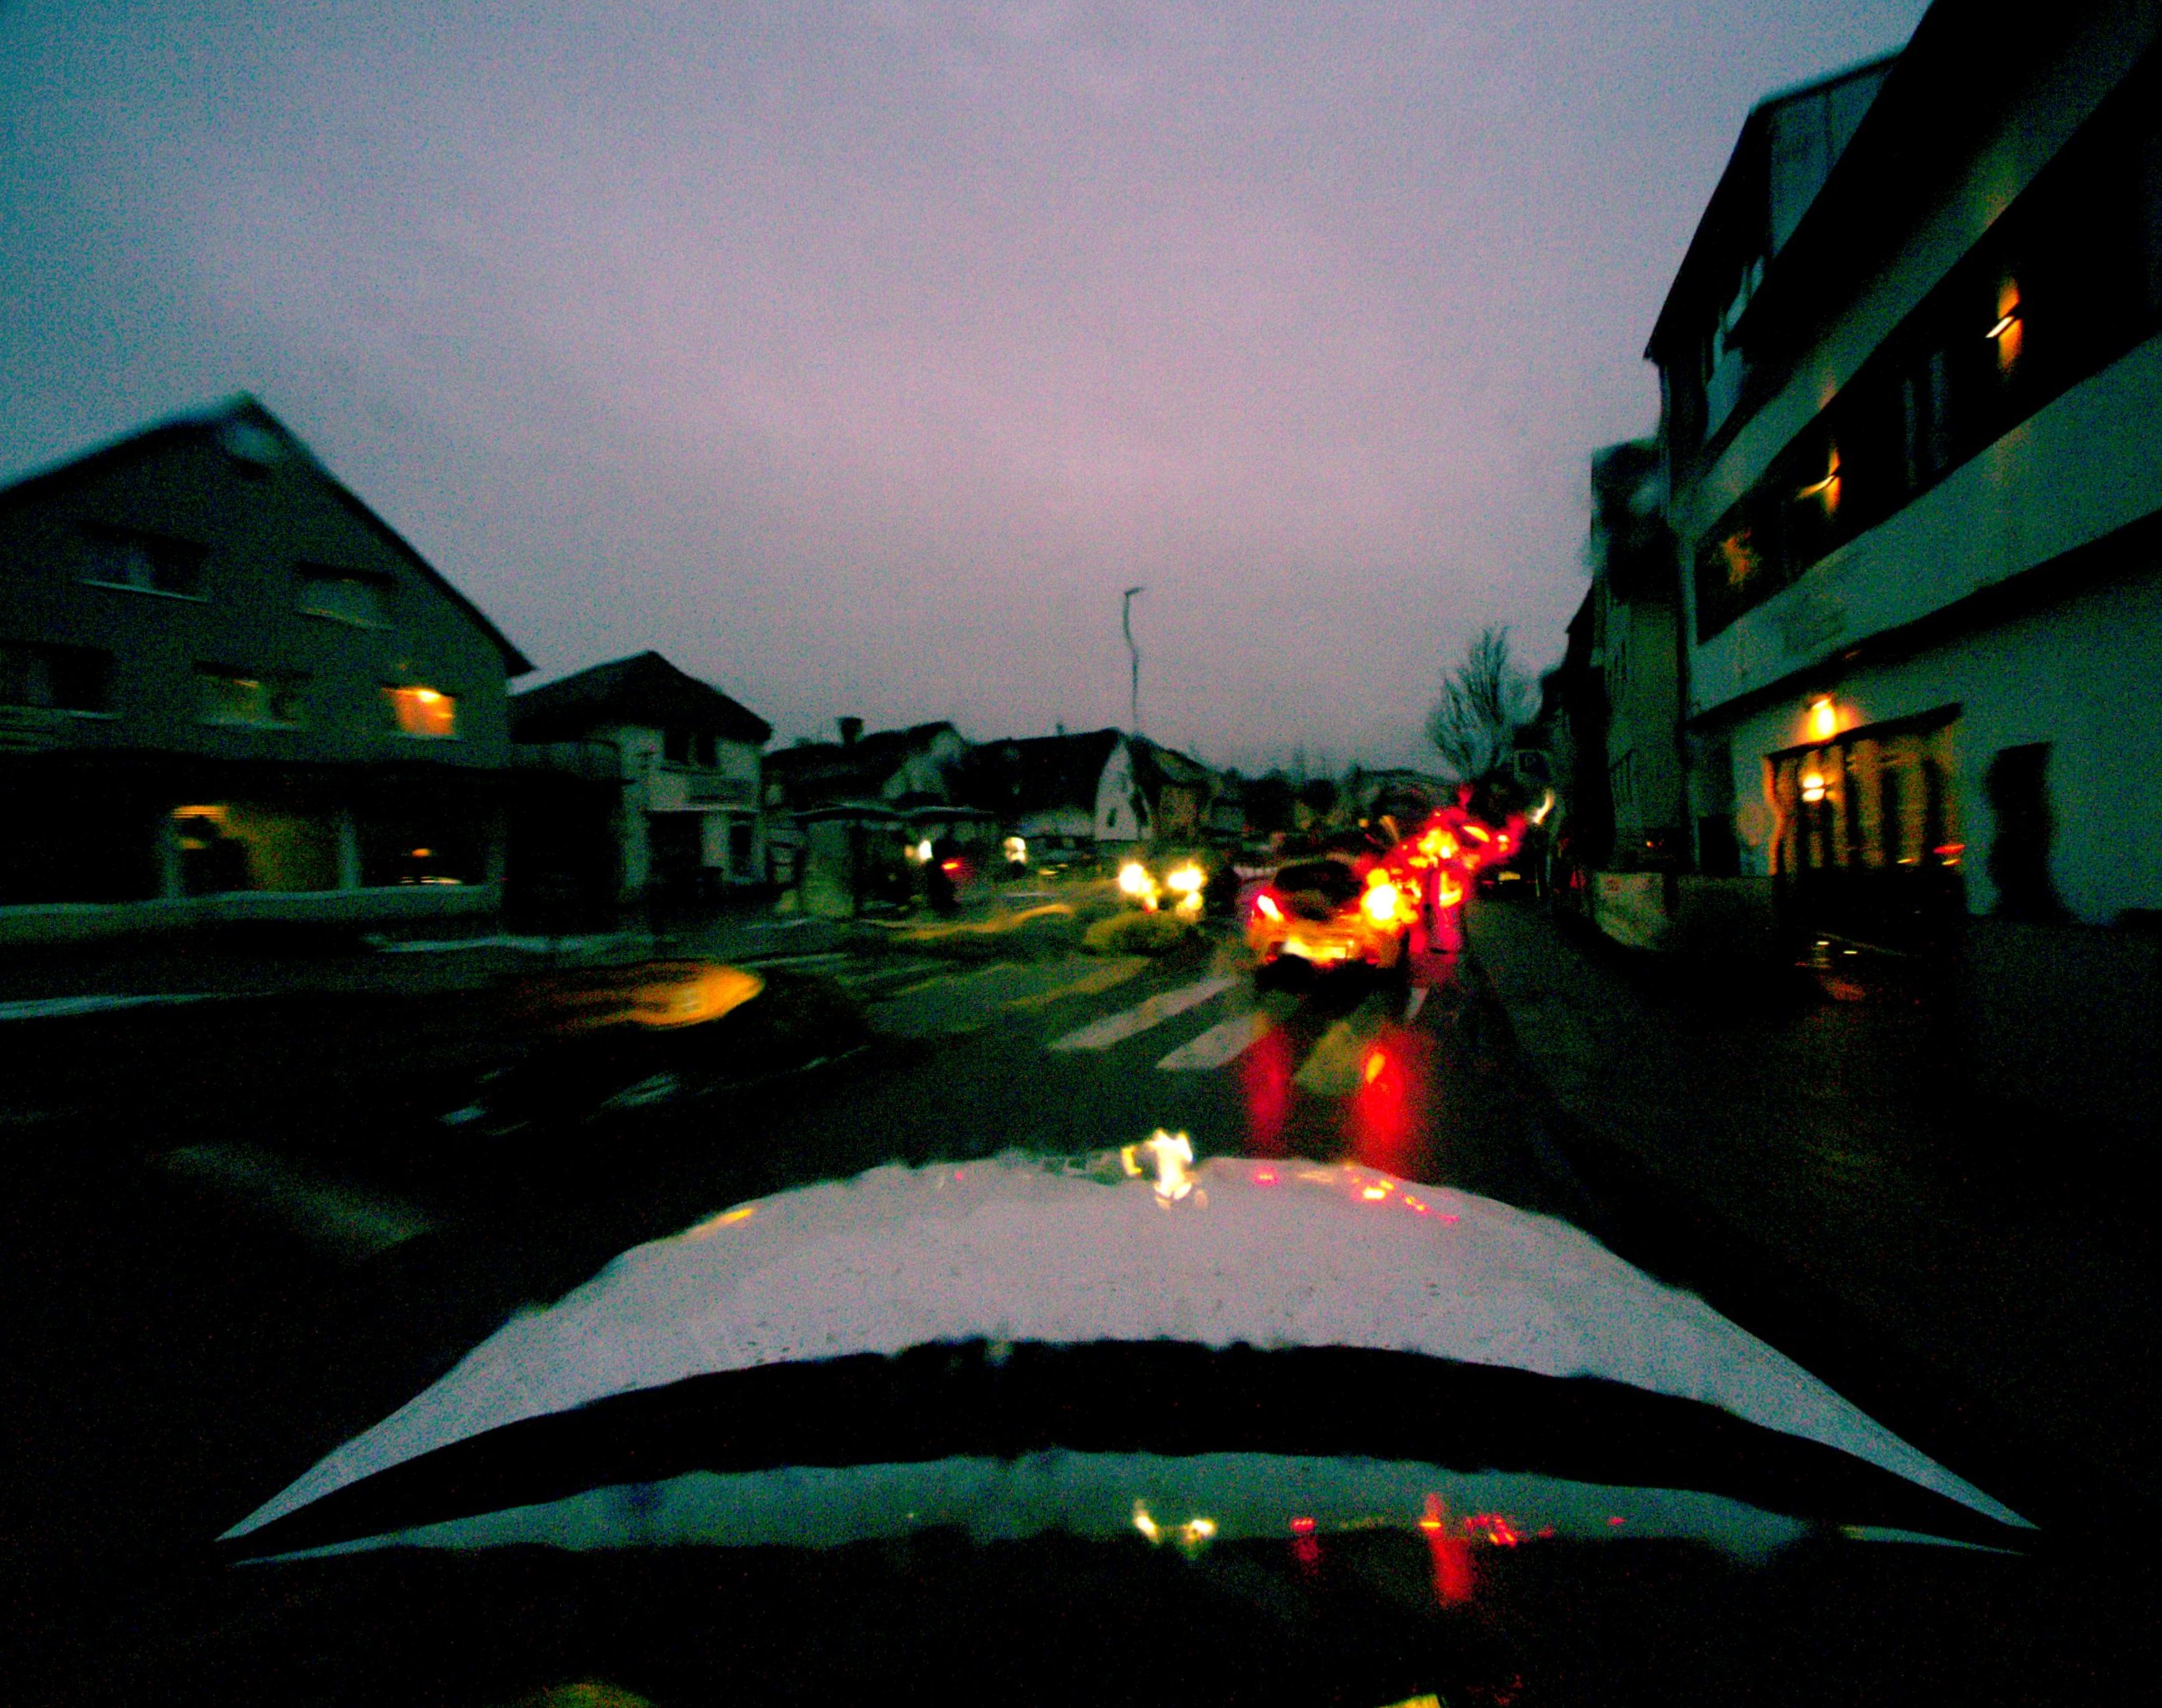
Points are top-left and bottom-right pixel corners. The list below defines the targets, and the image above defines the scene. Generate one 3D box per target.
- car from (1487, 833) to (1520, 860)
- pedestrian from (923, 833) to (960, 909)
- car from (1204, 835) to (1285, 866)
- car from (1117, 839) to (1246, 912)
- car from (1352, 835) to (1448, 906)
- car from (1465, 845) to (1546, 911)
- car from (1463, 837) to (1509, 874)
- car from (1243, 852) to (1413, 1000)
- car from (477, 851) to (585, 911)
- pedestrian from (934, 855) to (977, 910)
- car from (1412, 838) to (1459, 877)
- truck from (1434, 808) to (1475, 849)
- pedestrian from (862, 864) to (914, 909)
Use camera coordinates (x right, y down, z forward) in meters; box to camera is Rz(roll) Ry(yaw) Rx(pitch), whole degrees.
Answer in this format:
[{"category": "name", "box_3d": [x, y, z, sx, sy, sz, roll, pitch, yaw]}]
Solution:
[{"category": "car", "box_3d": [25.286, -0.461, 48.811, 1.675, 1.467, 3.741, -1, 1, 27]}, {"category": "pedestrian", "box_3d": [-3.374, 0.408, 19.767, 0.725, 1.818, 0.531, -2, 0, 3]}, {"category": "car", "box_3d": [9.467, -0.204, 47.207, 4.270, 1.640, 1.856, -1, 1, 22]}, {"category": "car", "box_3d": [2.601, 0.456, 20.221, 1.724, 1.568, 4.087, -1, 1, 29]}, {"category": "car", "box_3d": [8.375, 0.364, 21.173, 1.898, 1.615, 3.974, -1, 1, 27]}, {"category": "car", "box_3d": [11.779, 0.610, 22.690, 1.794, 1.570, 3.874, -1, 1, 27]}, {"category": "car", "box_3d": [17.822, 0.028, 35.820, 1.675, 1.467, 3.741, -1, 1, 27]}, {"category": "car", "box_3d": [3.339, 0.734, 10.478, 1.695, 1.421, 4.035, -1, 1, 22]}, {"category": "car", "box_3d": [-18.280, 0.846, 27.009, 3.948, 1.797, 1.821, -1, 1, 39]}, {"category": "pedestrian", "box_3d": [-3.178, 0.701, 20.620, 0.776, 1.348, 0.721, -1, 1, 26]}, {"category": "car", "box_3d": [16.491, 0.128, 37.768, 1.705, 1.631, 4.025, -1, 1, 27]}, {"category": "truck", "box_3d": [29.636, -2.007, 64.462, 2.689, 3.010, 6.029, -1, 1, 27]}, {"category": "pedestrian", "box_3d": [-4.520, 0.756, 19.086, 0.853, 1.010, 0.816, -1, 1, 23]}]
